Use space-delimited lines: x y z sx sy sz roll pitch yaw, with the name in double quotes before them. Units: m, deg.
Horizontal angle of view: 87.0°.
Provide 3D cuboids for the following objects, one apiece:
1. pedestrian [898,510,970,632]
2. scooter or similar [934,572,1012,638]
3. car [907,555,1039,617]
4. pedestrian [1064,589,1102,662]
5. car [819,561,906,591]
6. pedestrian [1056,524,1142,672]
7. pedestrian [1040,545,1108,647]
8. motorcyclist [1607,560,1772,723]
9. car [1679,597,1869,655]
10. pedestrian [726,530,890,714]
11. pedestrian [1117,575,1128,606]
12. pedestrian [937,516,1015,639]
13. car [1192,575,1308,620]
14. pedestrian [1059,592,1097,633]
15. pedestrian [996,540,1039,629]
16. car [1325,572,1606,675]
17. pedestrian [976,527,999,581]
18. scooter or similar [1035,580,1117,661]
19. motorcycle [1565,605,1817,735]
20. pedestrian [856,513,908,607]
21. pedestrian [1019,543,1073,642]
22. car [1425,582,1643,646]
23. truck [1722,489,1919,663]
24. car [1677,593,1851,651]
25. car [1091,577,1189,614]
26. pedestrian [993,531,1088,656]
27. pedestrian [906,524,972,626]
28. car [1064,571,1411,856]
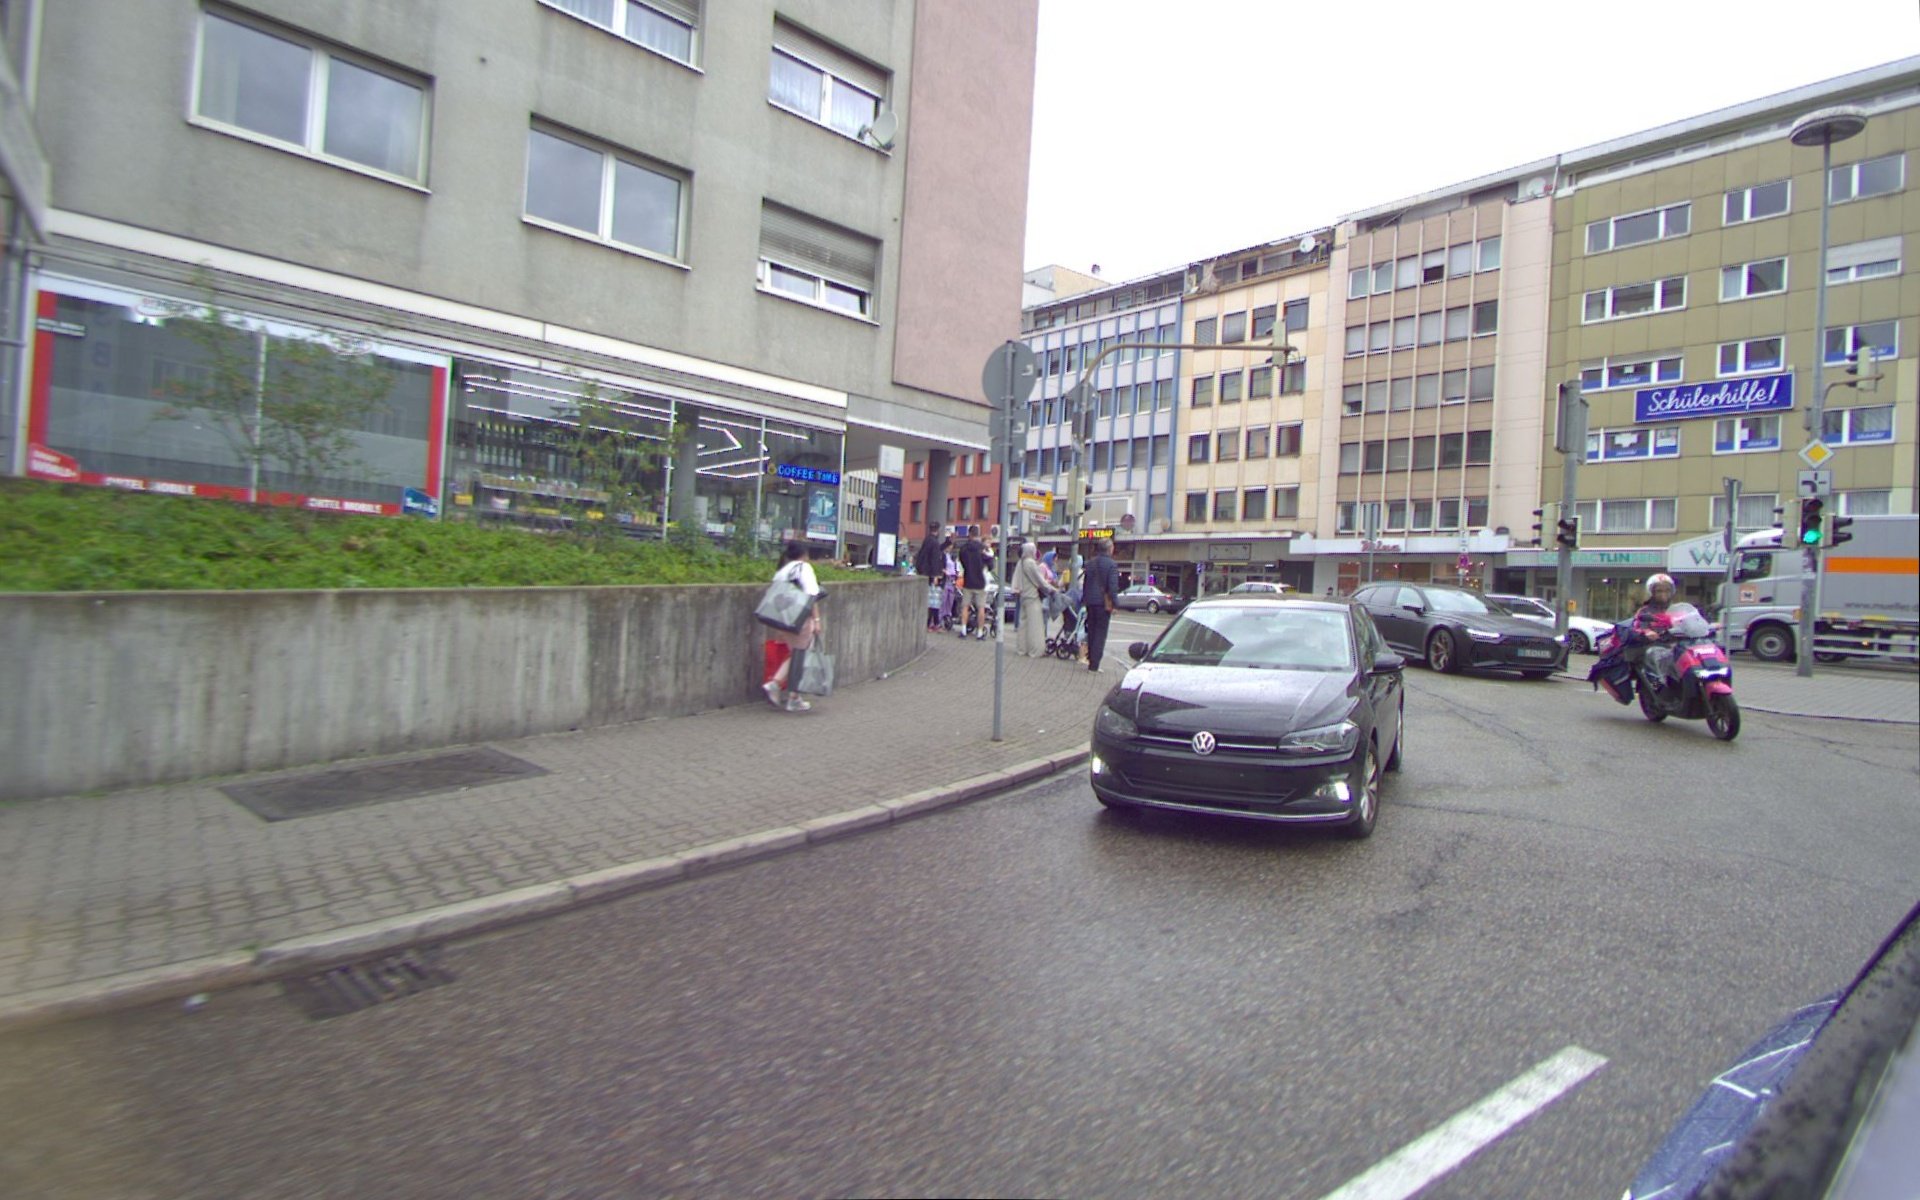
"pedestrian" -0.440 -0.480 16.925 0.804 1.955 0.733 4 1 -32
"scooter or similar" 0.217 0.078 17.468 0.759 0.998 1.048 4 3 -41
"car" 0.264 -0.411 27.990 1.835 1.566 4.110 1 1 -29
"pedestrian" 1.781 0.360 14.724 0.256 1.012 0.473 7 -1 -17
"car" -5.248 -1.288 54.296 4.399 1.571 1.975 2 1 34
"pedestrian" 1.887 -0.039 13.804 0.605 1.889 0.789 6 3 -25
"pedestrian" 1.986 -0.074 17.702 0.531 1.656 0.838 7 1 -40
"motorcyclist" 7.795 0.415 10.876 1.076 1.625 0.950 2 0 10
"car" 25.491 0.756 31.824 1.821 1.570 4.394 0 1 -41
"pedestrian" -1.418 0.168 9.511 1.052 1.550 1.015 5 3 33
"pedestrian" 9.049 -0.528 56.357 0.443 1.729 0.578 1 0 27
"pedestrian" 0.260 -0.366 16.512 0.822 1.887 0.659 6 2 -36
"car" 13.246 -0.144 46.532 1.822 1.850 4.960 2 1 -39
"pedestrian" 1.780 0.182 15.292 0.364 0.578 0.459 5 0 -21
"pedestrian" 1.161 -0.324 20.423 0.615 1.713 0.783 5 1 -5
"car" 8.597 0.314 17.824 1.959 1.510 4.743 3 1 -9
"pedestrian" 0.441 -0.748 16.503 0.216 0.857 0.442 1 1 -19
"scooter or similar" 1.747 0.306 15.312 0.952 1.123 0.656 5 0 -21
"motorcycle" 7.803 0.688 11.004 1.292 1.149 2.180 3 1 8
"pedestrian" -1.605 -0.821 20.861 0.663 1.889 0.826 2 1 39
"pedestrian" 1.517 -0.140 17.988 0.732 1.654 0.596 6 2 1
"car" 14.911 0.323 26.511 1.766 1.433 4.625 2 0 -41
"truck" 25.986 -0.523 25.210 2.800 4.387 10.777 2 1 -34
"car" 25.371 0.662 32.146 4.177 1.583 1.683 3 1 36
"car" 9.101 -0.249 51.477 1.837 1.628 4.876 2 1 -39
"pedestrian" 1.198 -0.096 15.092 1.017 1.744 0.840 4 0 -24
"pedestrian" -0.379 -0.447 18.050 0.822 1.743 0.618 4 2 -32
"car" 2.238 0.578 7.335 1.726 1.449 3.844 1 0 26
